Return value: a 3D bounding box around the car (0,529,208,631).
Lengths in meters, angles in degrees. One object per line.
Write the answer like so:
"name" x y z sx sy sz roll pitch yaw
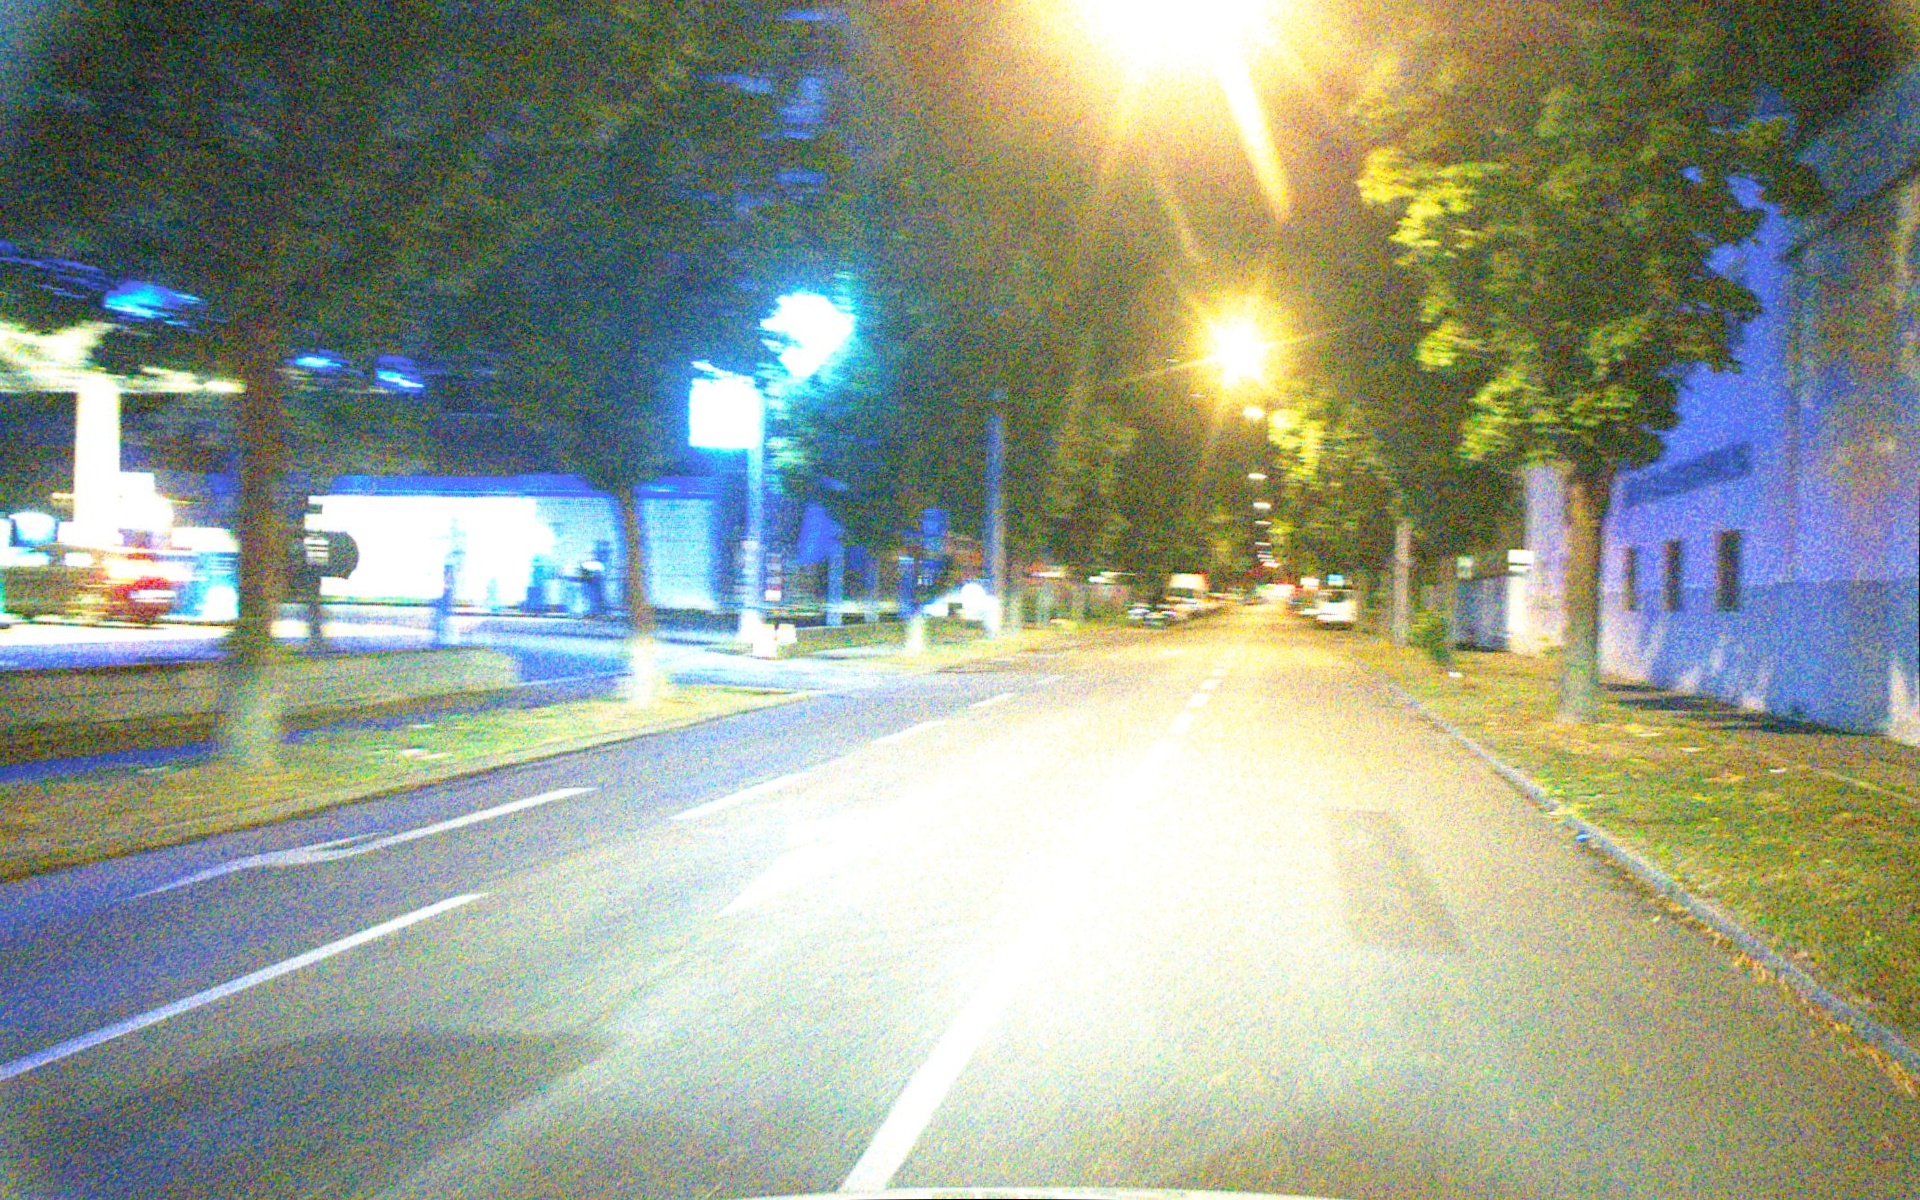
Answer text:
"car" -16.581 -0.404 31.092 3.903 1.692 2.002 3 0 8

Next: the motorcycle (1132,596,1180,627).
"motorcycle" 8.855 0.516 74.681 1.984 1.417 0.872 0 -1 -19

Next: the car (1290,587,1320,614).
"car" 26.244 0.057 125.910 1.951 2.049 4.003 0 0 7

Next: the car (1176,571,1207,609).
"car" 15.589 -0.657 111.302 1.951 2.457 4.488 0 0 10

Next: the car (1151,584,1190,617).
"car" 12.191 0.039 95.420 1.951 1.875 4.003 0 0 11

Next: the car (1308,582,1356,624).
"car" 18.862 0.156 83.970 1.951 2.049 4.003 0 0 7
